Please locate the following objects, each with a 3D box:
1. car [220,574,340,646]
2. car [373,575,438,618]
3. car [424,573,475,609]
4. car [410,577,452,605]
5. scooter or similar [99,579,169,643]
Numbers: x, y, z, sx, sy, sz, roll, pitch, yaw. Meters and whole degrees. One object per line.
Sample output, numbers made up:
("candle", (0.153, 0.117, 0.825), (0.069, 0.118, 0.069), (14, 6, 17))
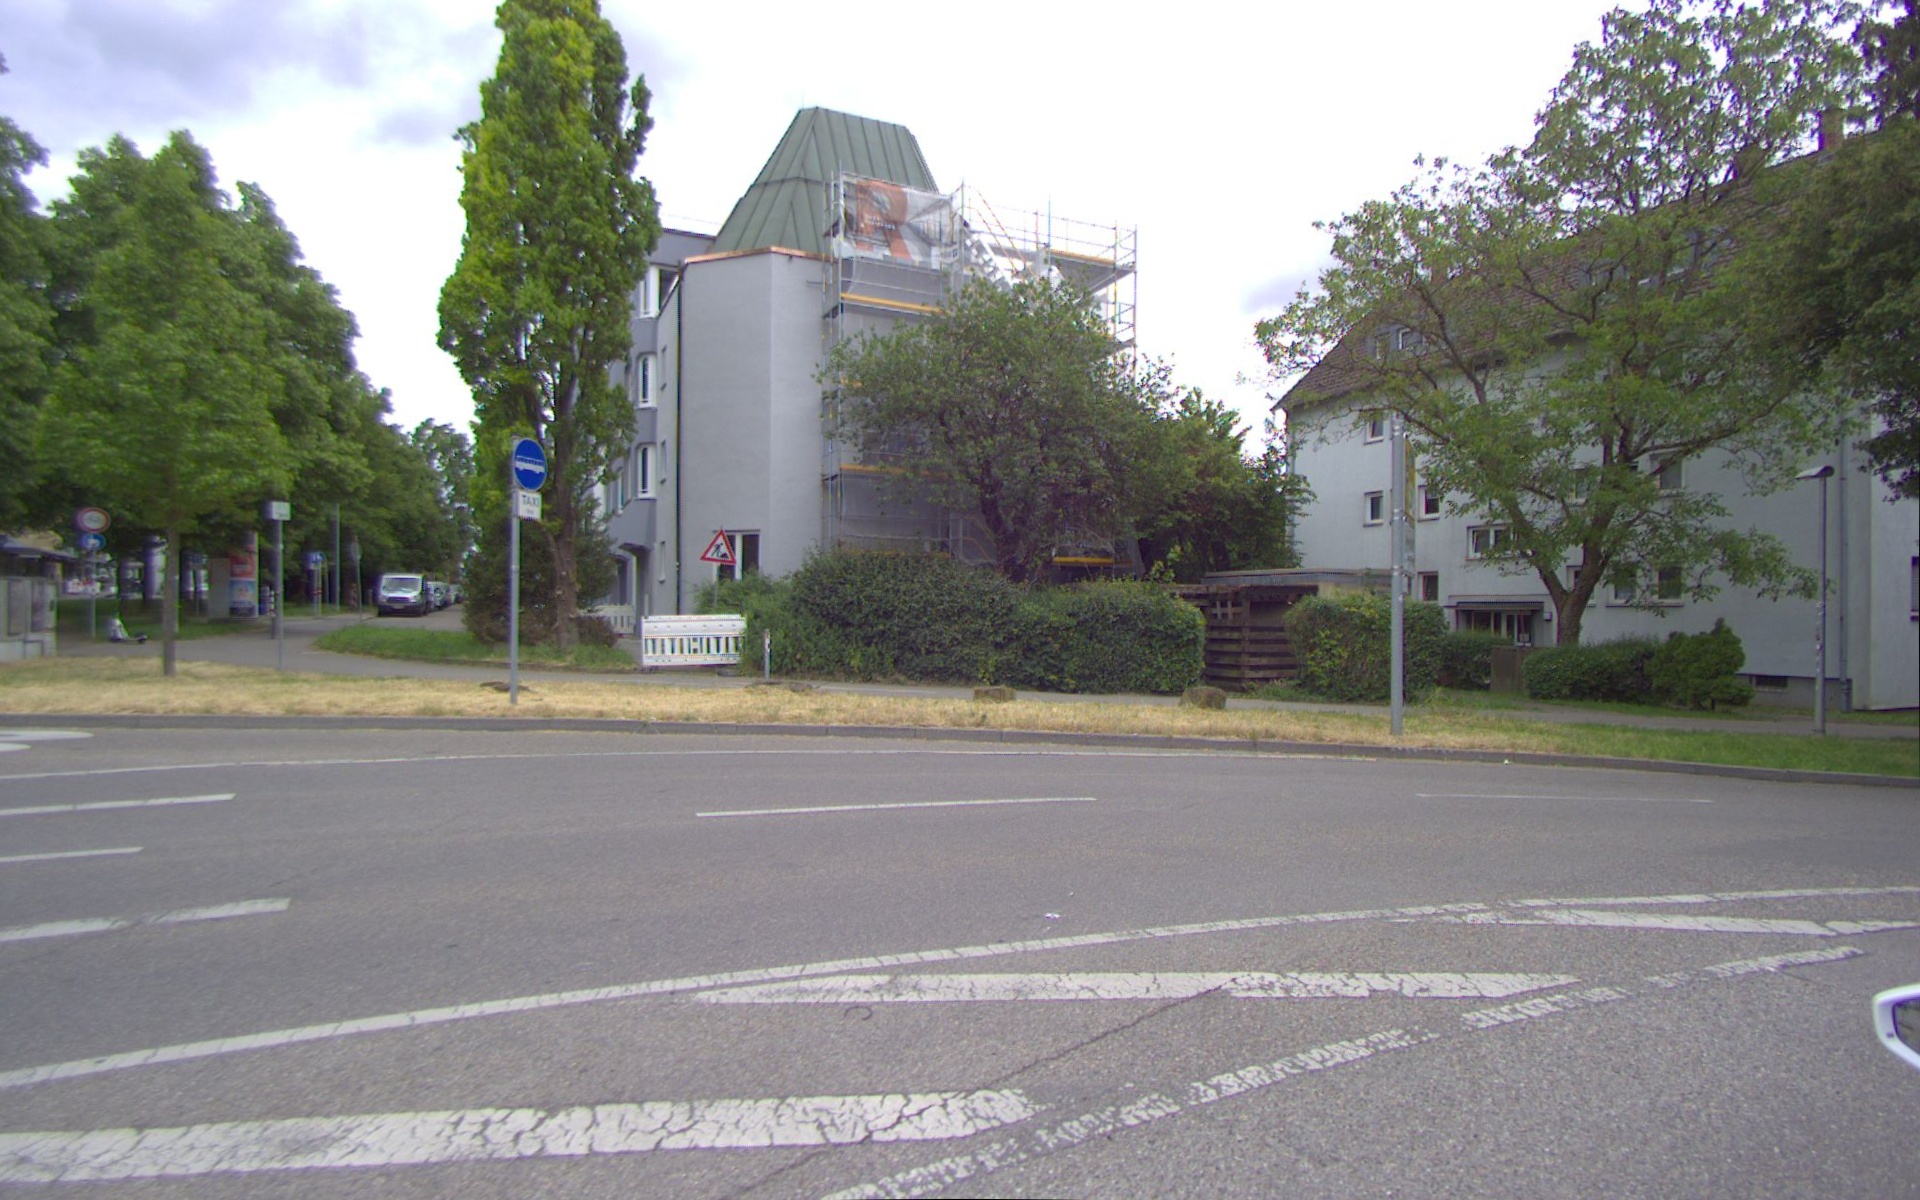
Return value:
("car", (-17.782, 0.262, 26.441), (1.622, 1.691, 3.932), (2, -1, -20))
("car", (-28.966, -0.227, 52.652), (2.187, 2.145, 5.280), (0, 2, -21))
("car", (-32.741, -0.615, 64.584), (2.284, 2.120, 5.465), (0, 2, -21))
("car", (-39.374, -0.679, 74.796), (1.968, 1.965, 4.573), (1, 2, -17))
("scooter or similar", (-19.656, 0.254, 23.912), (1.561, 1.465, 0.555), (2, 2, 20))
